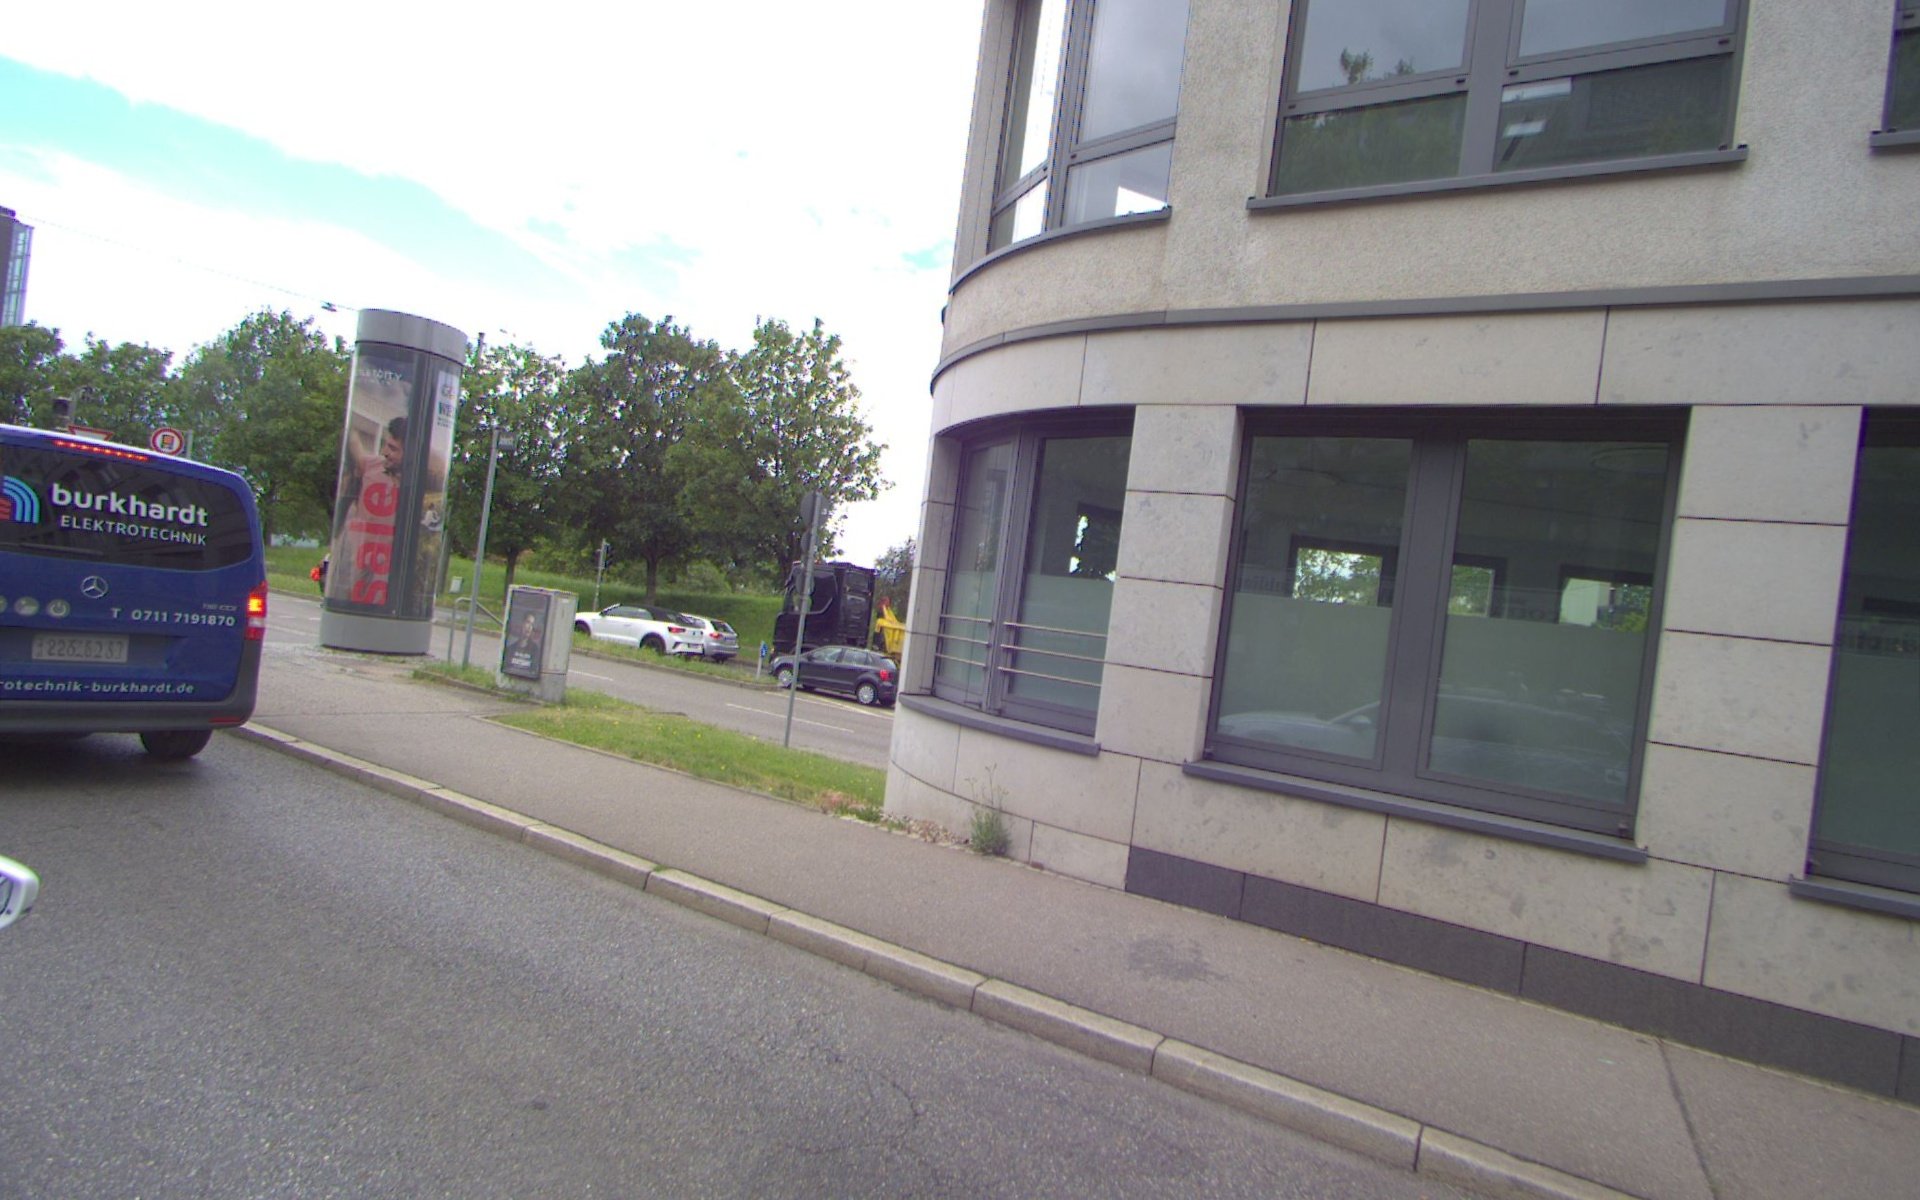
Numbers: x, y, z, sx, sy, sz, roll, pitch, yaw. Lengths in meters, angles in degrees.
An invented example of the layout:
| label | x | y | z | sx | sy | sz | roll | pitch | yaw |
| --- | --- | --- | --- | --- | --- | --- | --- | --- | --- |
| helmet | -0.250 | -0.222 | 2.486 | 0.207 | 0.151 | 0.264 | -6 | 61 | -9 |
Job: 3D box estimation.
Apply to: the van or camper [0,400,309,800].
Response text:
| label | x | y | z | sx | sy | sz | roll | pitch | yaw |
| --- | --- | --- | --- | --- | --- | --- | --- | --- | --- |
| van or camper | -6.538 | -0.200 | 6.482 | 4.949 | 1.934 | 1.862 | 7 | -1 | 32 |

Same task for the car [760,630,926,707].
| label | x | y | z | sx | sy | sz | roll | pitch | yaw |
| --- | --- | --- | --- | --- | --- | --- | --- | --- | --- |
| car | -3.200 | 1.906 | 27.732 | 3.925 | 1.469 | 2.003 | 8 | -3 | 19 |

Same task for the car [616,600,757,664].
| label | x | y | z | sx | sy | sz | roll | pitch | yaw |
| --- | --- | --- | --- | --- | --- | --- | --- | --- | --- |
| car | -9.106 | 1.075 | 33.601 | 3.925 | 1.469 | 2.003 | 8 | -3 | 19 |

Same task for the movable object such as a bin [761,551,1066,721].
| label | x | y | z | sx | sy | sz | roll | pitch | yaw |
| --- | --- | --- | --- | --- | --- | --- | --- | --- | --- |
| movable object such as a bin | -1.398 | 1.046 | 30.562 | 8.410 | 3.949 | 2.870 | 7 | -1 | 18 |

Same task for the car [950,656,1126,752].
| label | x | y | z | sx | sy | sz | roll | pitch | yaw |
| --- | --- | --- | --- | --- | --- | --- | --- | --- | --- |
| car | 2.016 | 2.625 | 25.711 | 3.925 | 1.723 | 2.003 | 8 | -3 | 19 |

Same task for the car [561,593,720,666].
| label | x | y | z | sx | sy | sz | roll | pitch | yaw |
| --- | --- | --- | --- | --- | --- | --- | --- | --- | --- |
| car | -9.498 | 0.888 | 29.973 | 3.925 | 1.469 | 2.003 | 8 | -3 | 19 |
